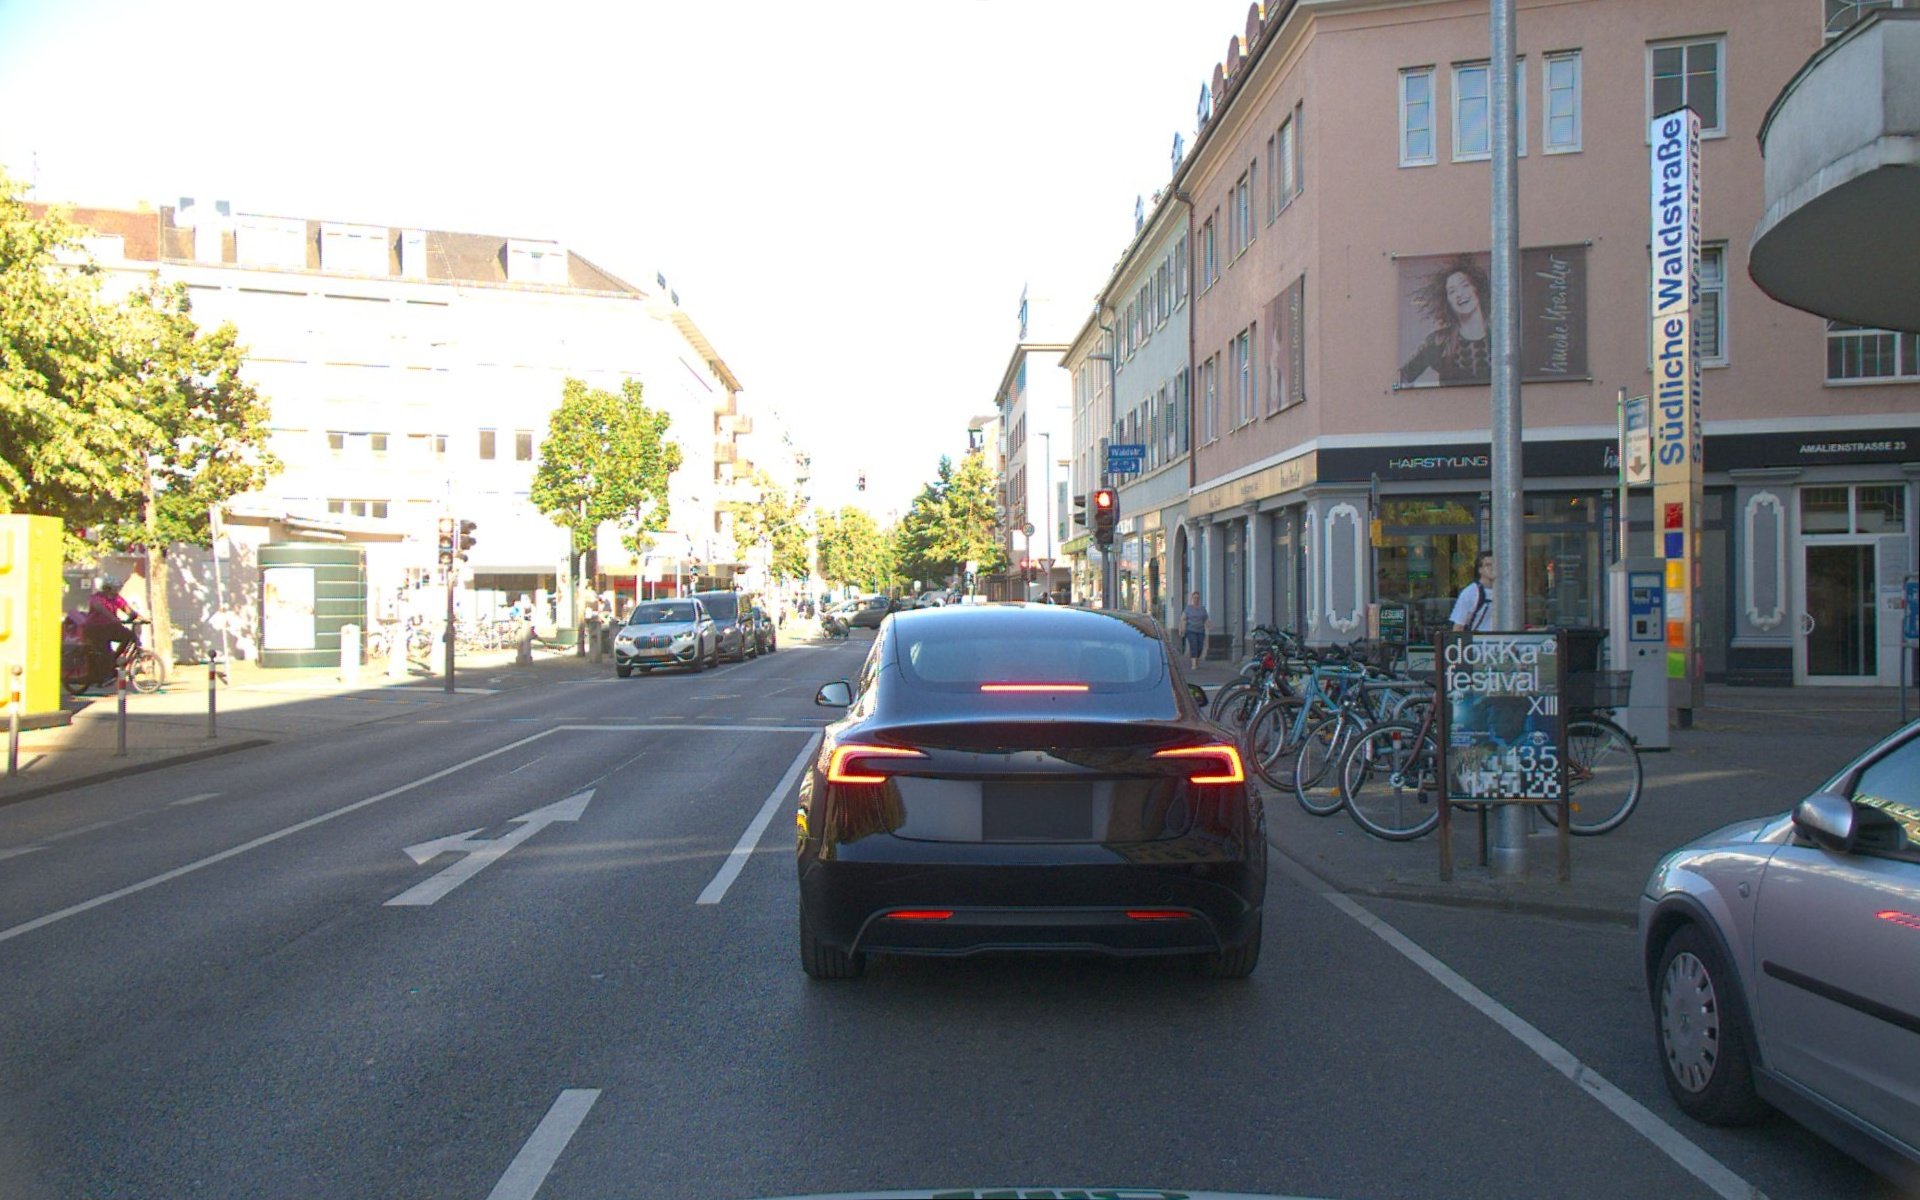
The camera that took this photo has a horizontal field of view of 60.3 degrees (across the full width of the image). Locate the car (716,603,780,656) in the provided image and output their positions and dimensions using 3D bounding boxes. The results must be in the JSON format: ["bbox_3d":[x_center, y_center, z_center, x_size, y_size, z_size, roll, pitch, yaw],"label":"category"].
[{"bbox_3d":[-6.333,0.855,49.683,1.431,1.455,3.605,-3,0,-1],"label":"car"}]

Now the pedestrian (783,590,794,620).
[{"bbox_3d":[-10.764,0.316,103.706,0.681,1.900,0.658,1,-1,-6],"label":"pedestrian"}]

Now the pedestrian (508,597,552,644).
[{"bbox_3d":[-15.246,0.708,58.659,1.085,1.639,1.249,1,-1,-37],"label":"pedestrian"}]

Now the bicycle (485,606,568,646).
[{"bbox_3d":[-14.225,0.859,54.330,2.491,1.273,0.942,1,0,-4],"label":"bicycle"}]

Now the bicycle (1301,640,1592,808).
[{"bbox_3d":[3.252,0.820,11.154,1.776,1.078,0.653,0,0,0],"label":"bicycle"}]

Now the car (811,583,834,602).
[{"bbox_3d":[-15.599,-0.811,188.053,2.228,2.049,4.717,1,0,0],"label":"car"}]

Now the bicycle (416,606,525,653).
[{"bbox_3d":[-13.998,0.832,47.316,2.818,1.292,0.942,1,0,-4],"label":"bicycle"}]

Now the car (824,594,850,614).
[{"bbox_3d":[-12.342,0.400,166.254,2.365,2.004,4.677,0,0,-1],"label":"car"}]

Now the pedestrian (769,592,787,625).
[{"bbox_3d":[-10.691,0.499,97.170,0.719,1.900,0.790,1,-1,28],"label":"pedestrian"}]

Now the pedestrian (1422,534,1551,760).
[{"bbox_3d":[4.485,0.390,14.148,0.792,1.855,0.983,1,-1,2],"label":"pedestrian"}]

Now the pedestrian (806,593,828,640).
[{"bbox_3d":[-5.469,0.616,63.269,0.649,1.790,0.649,1,-1,-24],"label":"pedestrian"}]

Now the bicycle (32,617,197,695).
[{"bbox_3d":[-13.703,0.899,26.839,2.339,1.171,0.713,-2,-1,6],"label":"bicycle"}]

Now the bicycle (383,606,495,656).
[{"bbox_3d":[-14.121,0.845,44.914,2.725,1.296,0.932,1,0,-4],"label":"bicycle"}]

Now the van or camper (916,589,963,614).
[{"bbox_3d":[-2.066,0.175,167.511,4.752,2.481,1.850,0,0,-1],"label":"van or camper"}]

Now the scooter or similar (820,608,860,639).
[{"bbox_3d":[-4.638,0.911,63.822,1.317,1.154,0.803,1,-1,-25],"label":"scooter or similar"}]

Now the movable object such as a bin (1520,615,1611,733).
[{"bbox_3d":[6.045,0.730,16.533,0.623,1.122,0.728,-2,0,3],"label":"movable object such as a bin"}]

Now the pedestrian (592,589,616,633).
[{"bbox_3d":[-16.856,0.522,78.270,0.910,2.049,0.852,1,-1,-25],"label":"pedestrian"}]

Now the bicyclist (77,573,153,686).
[{"bbox_3d":[-13.707,0.481,26.841,0.845,1.786,0.681,-2,-1,7],"label":"bicyclist"}]

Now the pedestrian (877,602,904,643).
[{"bbox_3d":[-2.777,0.901,66.087,0.800,1.637,0.700,1,-1,-38],"label":"pedestrian"}]

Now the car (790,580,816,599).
[{"bbox_3d":[-17.016,-1.124,179.397,2.228,2.049,4.717,1,0,0],"label":"car"}]

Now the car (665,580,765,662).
[{"bbox_3d":[-6.228,0.507,42.556,1.906,1.981,4.819,0,0,-1],"label":"car"}]

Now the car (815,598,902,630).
[{"bbox_3d":[-5.044,0.679,82.044,4.062,1.557,1.541,0,0,-22],"label":"car"}]

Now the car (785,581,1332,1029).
[{"bbox_3d":[0.302,0.698,7.763,1.812,1.472,4.450,1,0,-1],"label":"car"}]

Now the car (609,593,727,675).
[{"bbox_3d":[-6.320,0.711,36.228,1.788,1.592,4.299,-4,0,-1],"label":"car"}]

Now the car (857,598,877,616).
[{"bbox_3d":[-10.499,0.834,186.958,2.089,2.004,4.133,0,0,-1],"label":"car"}]

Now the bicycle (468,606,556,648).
[{"bbox_3d":[-14.059,0.852,51.909,2.491,1.273,0.942,1,0,-4],"label":"bicycle"}]

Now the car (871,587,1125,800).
[{"bbox_3d":[0.245,0.685,14.187,1.812,1.507,4.450,1,0,-1],"label":"car"}]

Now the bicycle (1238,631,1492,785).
[{"bbox_3d":[3.052,0.803,12.558,1.776,1.121,0.653,0,0,0],"label":"bicycle"}]

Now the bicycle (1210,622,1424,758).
[{"bbox_3d":[3.165,0.790,14.768,1.776,1.172,0.653,0,0,0],"label":"bicycle"}]

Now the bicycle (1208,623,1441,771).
[{"bbox_3d":[2.981,0.782,13.631,1.776,1.172,0.653,0,0,0],"label":"bicycle"}]

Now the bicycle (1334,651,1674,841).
[{"bbox_3d":[3.281,0.873,10.082,1.844,1.062,0.653,-1,0,0],"label":"bicycle"}]

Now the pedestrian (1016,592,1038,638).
[{"bbox_3d":[2.783,0.617,68.788,0.692,1.910,0.809,1,-1,19],"label":"pedestrian"}]

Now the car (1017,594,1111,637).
[{"bbox_3d":[4.715,0.703,74.732,3.937,1.900,1.686,0,0,-22],"label":"car"}]

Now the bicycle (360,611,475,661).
[{"bbox_3d":[-13.947,0.927,42.577,2.607,1.216,0.942,1,0,-4],"label":"bicycle"}]

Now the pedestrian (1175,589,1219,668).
[{"bbox_3d":[4.847,0.578,33.791,0.773,1.576,0.724,1,-1,0],"label":"pedestrian"}]

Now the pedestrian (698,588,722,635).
[{"bbox_3d":[-9.689,0.434,64.003,0.830,1.790,0.704,1,-1,-15],"label":"pedestrian"}]

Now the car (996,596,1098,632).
[{"bbox_3d":[4.610,0.733,87.382,5.124,1.899,1.871,0,0,-23],"label":"car"}]

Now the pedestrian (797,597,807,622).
[{"bbox_3d":[-12.148,0.731,126.792,0.682,1.900,0.908,1,-1,-9],"label":"pedestrian"}]

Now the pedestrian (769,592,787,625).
[{"bbox_3d":[-10.583,0.497,96.357,0.727,1.900,0.780,1,-1,-37],"label":"pedestrian"}]

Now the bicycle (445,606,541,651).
[{"bbox_3d":[-14.007,0.847,49.634,2.609,1.281,0.942,1,0,-4],"label":"bicycle"}]

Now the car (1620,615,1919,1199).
[{"bbox_3d":[2.924,0.779,3.529,1.551,1.451,3.579,1,0,-1],"label":"car"}]

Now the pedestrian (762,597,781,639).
[{"bbox_3d":[-7.348,0.690,64.457,0.692,1.637,0.606,1,-1,-9],"label":"pedestrian"}]

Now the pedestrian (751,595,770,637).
[{"bbox_3d":[-7.839,0.637,65.017,0.638,1.637,0.590,1,-1,-15],"label":"pedestrian"}]

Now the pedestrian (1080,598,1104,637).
[{"bbox_3d":[5.851,0.773,73.452,0.800,1.743,0.700,1,-1,-38],"label":"pedestrian"}]
